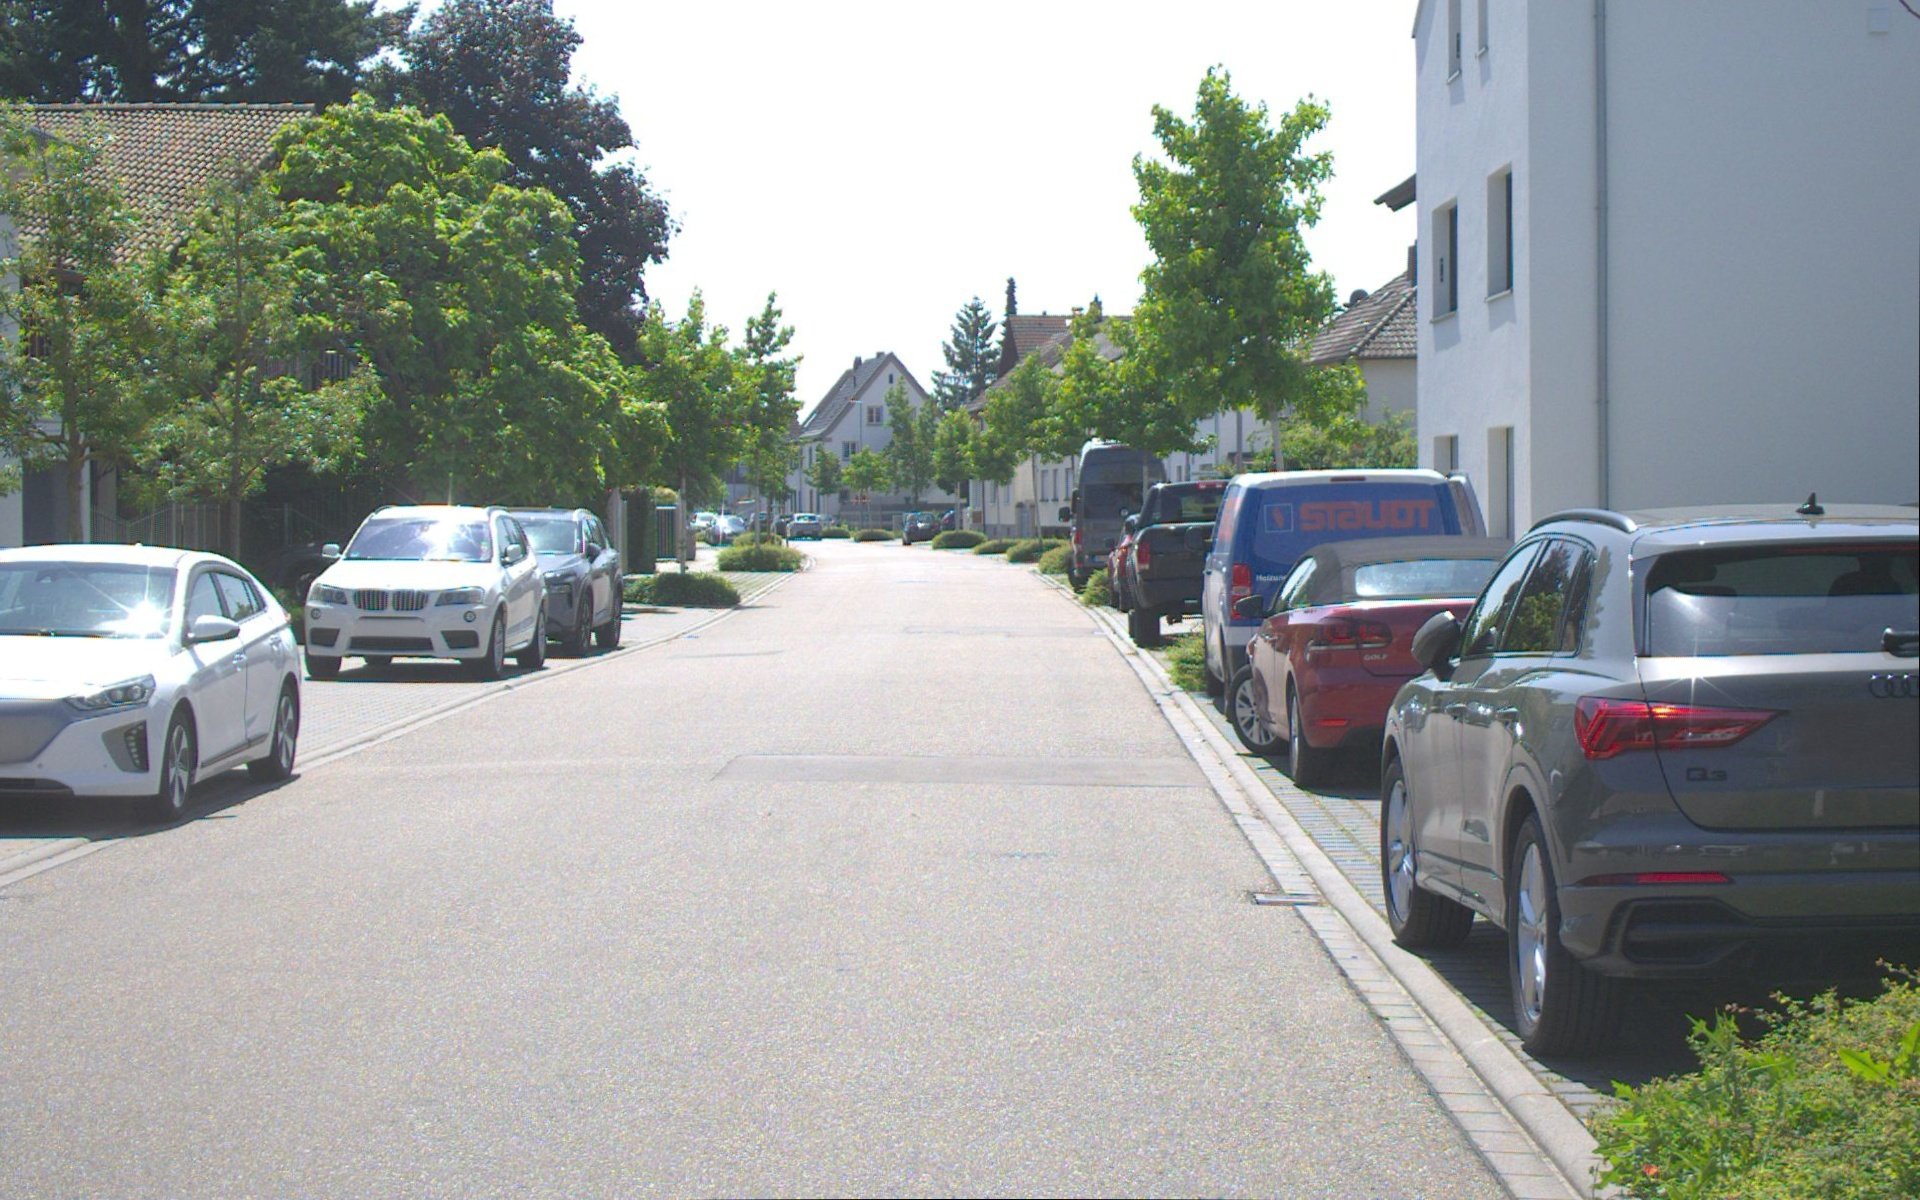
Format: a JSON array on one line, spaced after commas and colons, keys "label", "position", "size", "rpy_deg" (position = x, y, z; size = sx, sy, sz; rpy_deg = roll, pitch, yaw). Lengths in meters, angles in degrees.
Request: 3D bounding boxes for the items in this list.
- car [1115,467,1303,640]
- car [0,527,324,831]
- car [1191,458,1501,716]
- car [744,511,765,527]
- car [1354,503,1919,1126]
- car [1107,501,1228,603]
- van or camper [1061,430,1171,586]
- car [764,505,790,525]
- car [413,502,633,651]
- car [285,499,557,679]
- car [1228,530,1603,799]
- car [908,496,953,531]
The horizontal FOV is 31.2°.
[{"label": "car", "position": [2.969, -0.609, 41.968], "size": [1.993, 1.940, 5.215], "rpy_deg": [-1, 2, 1]}, {"label": "car", "position": [-5.039, 0.358, 19.751], "size": [1.852, 1.483, 4.385], "rpy_deg": [1, 2, 1]}, {"label": "car", "position": [2.991, -0.162, 27.607], "size": [2.099, 1.875, 4.843], "rpy_deg": [0, 2, 2]}, {"label": "car", "position": [-13.847, -5.465, 231.309], "size": [1.188, 1.066, 3.054], "rpy_deg": [-1, 2, -8]}, {"label": "car", "position": [2.449, 0.498, 11.083], "size": [1.773, 1.590, 4.280], "rpy_deg": [-1, 2, -1]}, {"label": "car", "position": [3.346, -0.802, 56.018], "size": [1.670, 1.590, 3.556], "rpy_deg": [-1, 1, -1]}, {"label": "van or camper", "position": [2.997, -1.792, 66.843], "size": [1.993, 2.931, 4.000], "rpy_deg": [-1, 2, 1]}, {"label": "car", "position": [-11.799, -5.514, 221.856], "size": [1.663, 1.246, 3.932], "rpy_deg": [-1, 2, -3]}, {"label": "car", "position": [-5.152, -0.323, 41.071], "size": [1.993, 1.674, 4.214], "rpy_deg": [0, 2, 1]}, {"label": "car", "position": [-5.352, -0.168, 34.683], "size": [1.927, 1.681, 4.498], "rpy_deg": [0, 2, 1]}, {"label": "car", "position": [2.675, 0.315, 21.016], "size": [1.679, 1.436, 4.027], "rpy_deg": [0, 2, -1]}, {"label": "car", "position": [-1.360, -4.058, 161.055], "size": [1.993, 1.568, 4.000], "rpy_deg": [-1, 2, 1]}]
